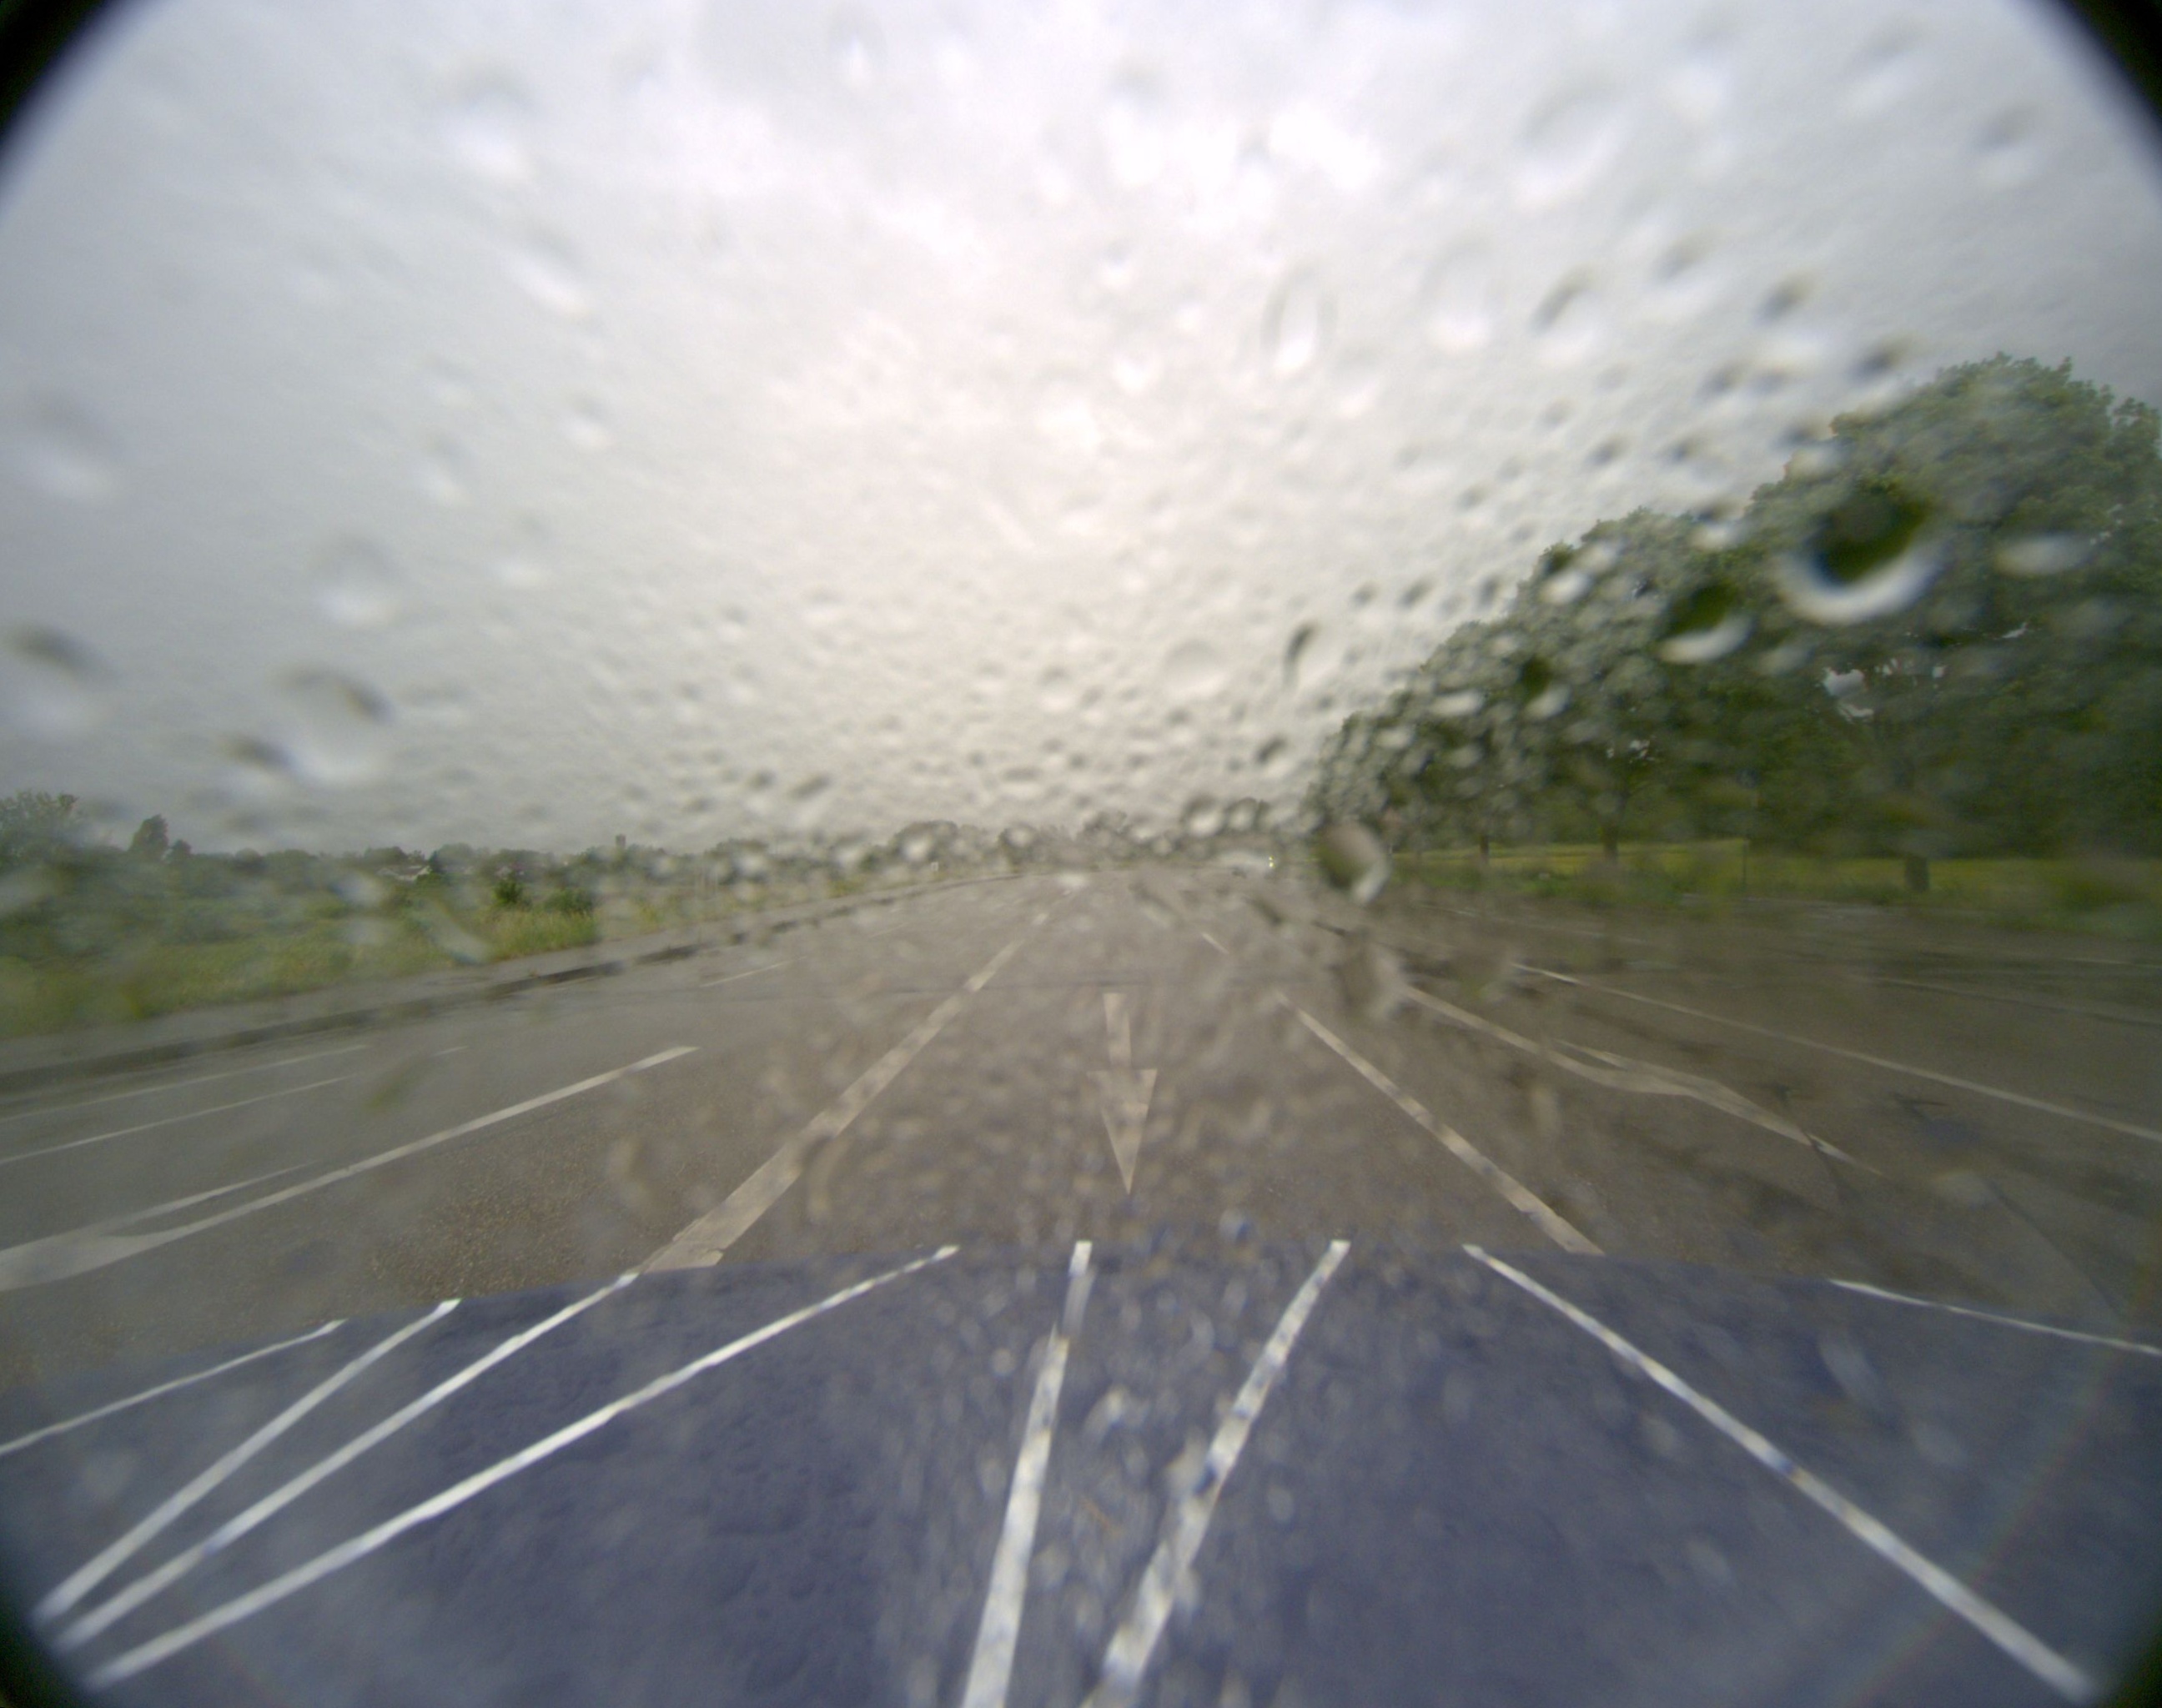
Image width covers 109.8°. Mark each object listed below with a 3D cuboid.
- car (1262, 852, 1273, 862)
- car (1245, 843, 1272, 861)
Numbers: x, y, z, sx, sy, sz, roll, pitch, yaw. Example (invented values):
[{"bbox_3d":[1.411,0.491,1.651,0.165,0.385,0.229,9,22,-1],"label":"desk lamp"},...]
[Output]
[{"bbox_3d":[34.107,0.524,138.741,1.914,1.576,4.107,-2,1,14],"label":"car"},{"bbox_3d":[19.081,-0.248,81.574,2.108,1.881,4.797,-1,0,21],"label":"car"}]
